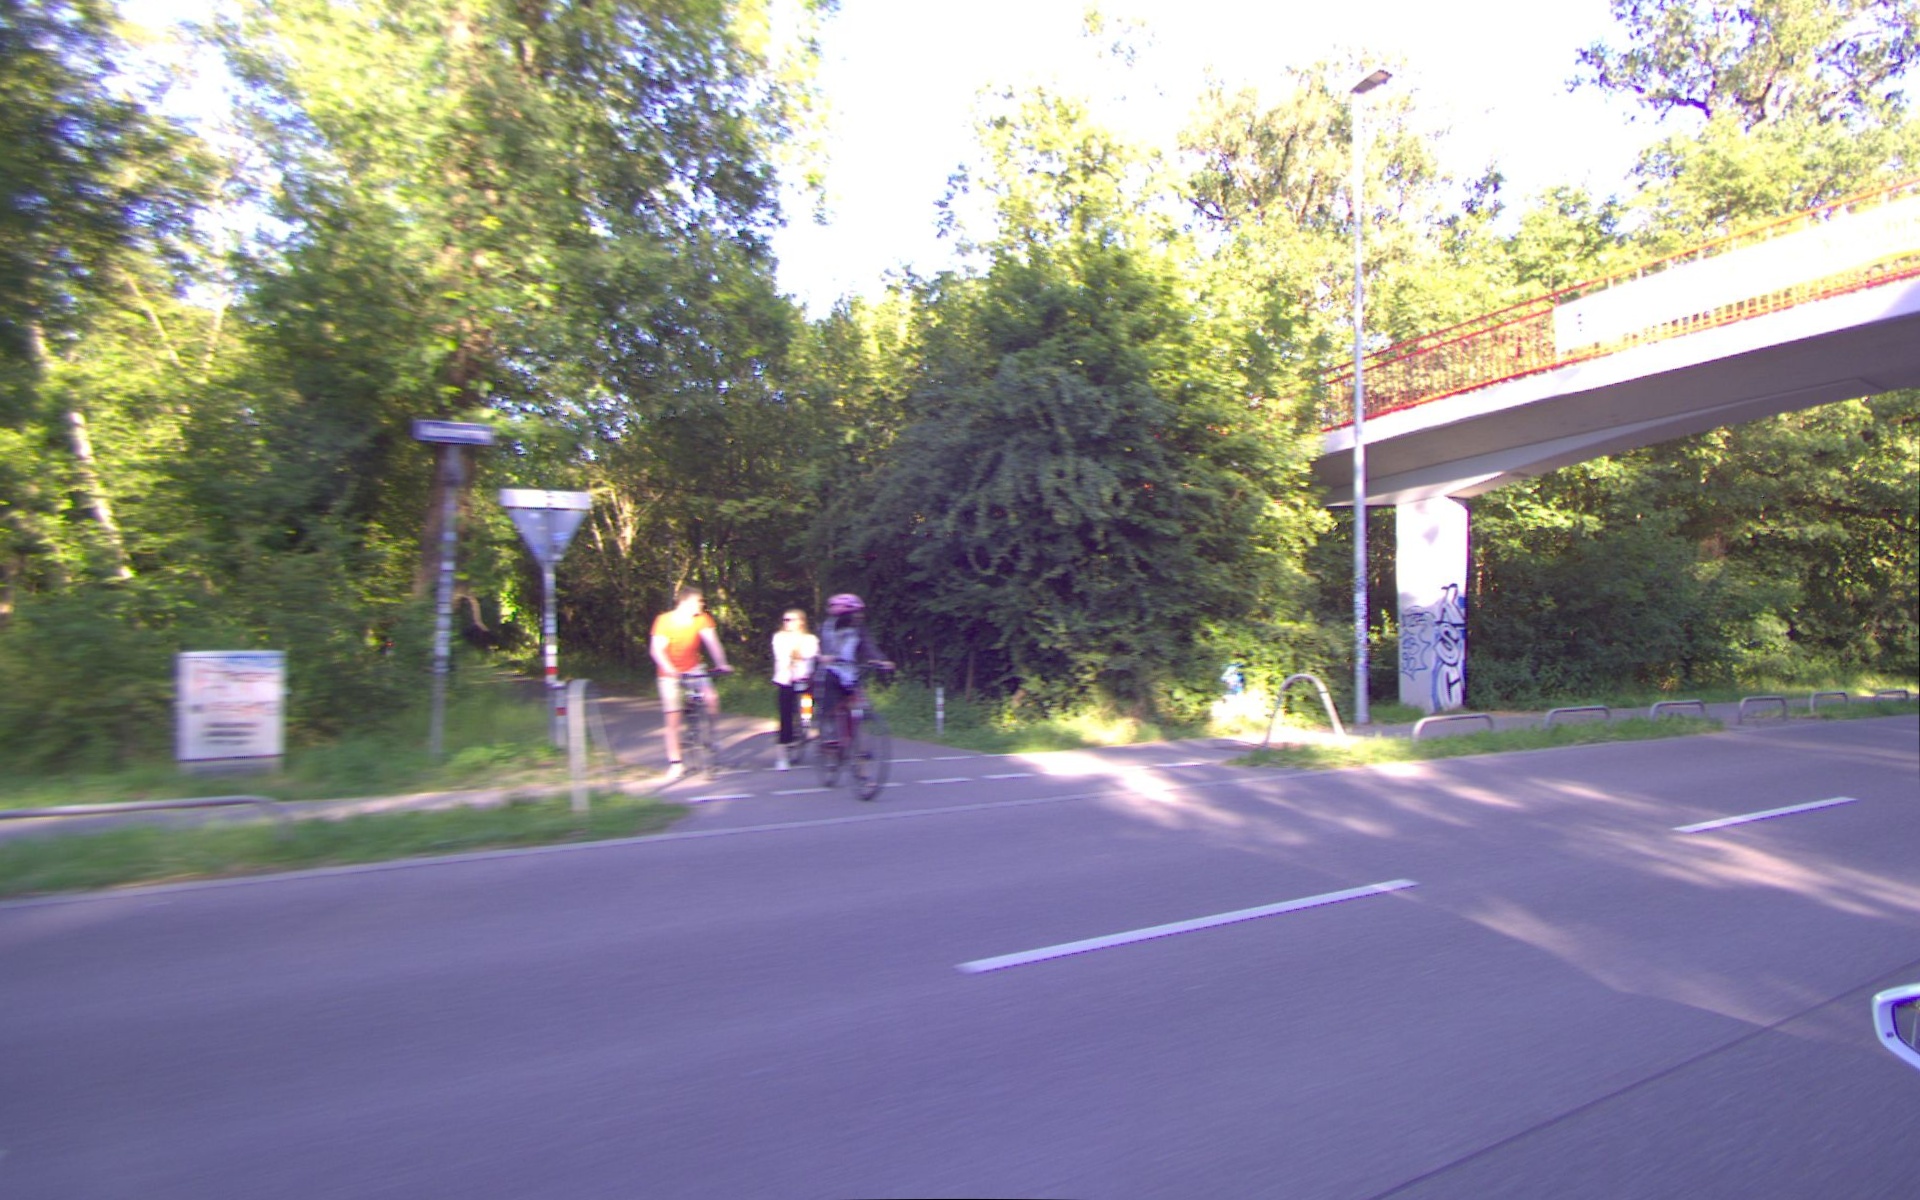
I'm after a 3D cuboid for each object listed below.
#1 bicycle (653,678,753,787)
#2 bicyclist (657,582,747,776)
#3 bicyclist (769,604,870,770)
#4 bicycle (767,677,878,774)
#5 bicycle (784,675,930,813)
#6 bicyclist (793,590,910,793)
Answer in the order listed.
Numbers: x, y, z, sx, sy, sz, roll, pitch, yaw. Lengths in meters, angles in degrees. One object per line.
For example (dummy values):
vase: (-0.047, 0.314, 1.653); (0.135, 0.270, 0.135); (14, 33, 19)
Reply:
bicycle: (-2.724, 1.326, 10.500); (0.812, 0.947, 1.924); (1, -2, -20)
bicyclist: (-2.699, 0.799, 10.479); (0.805, 1.926, 0.794); (1, -1, -21)
bicyclist: (-1.545, 0.918, 10.986); (0.931, 1.719, 0.794); (1, -1, -21)
bicycle: (-1.542, 1.327, 10.992); (0.812, 0.946, 1.925); (1, -5, -20)
bicycle: (-0.949, 1.179, 8.738); (0.812, 0.947, 1.924); (1, -1, -20)
bicyclist: (-0.955, 0.760, 8.759); (0.829, 1.665, 0.794); (1, -1, -21)
